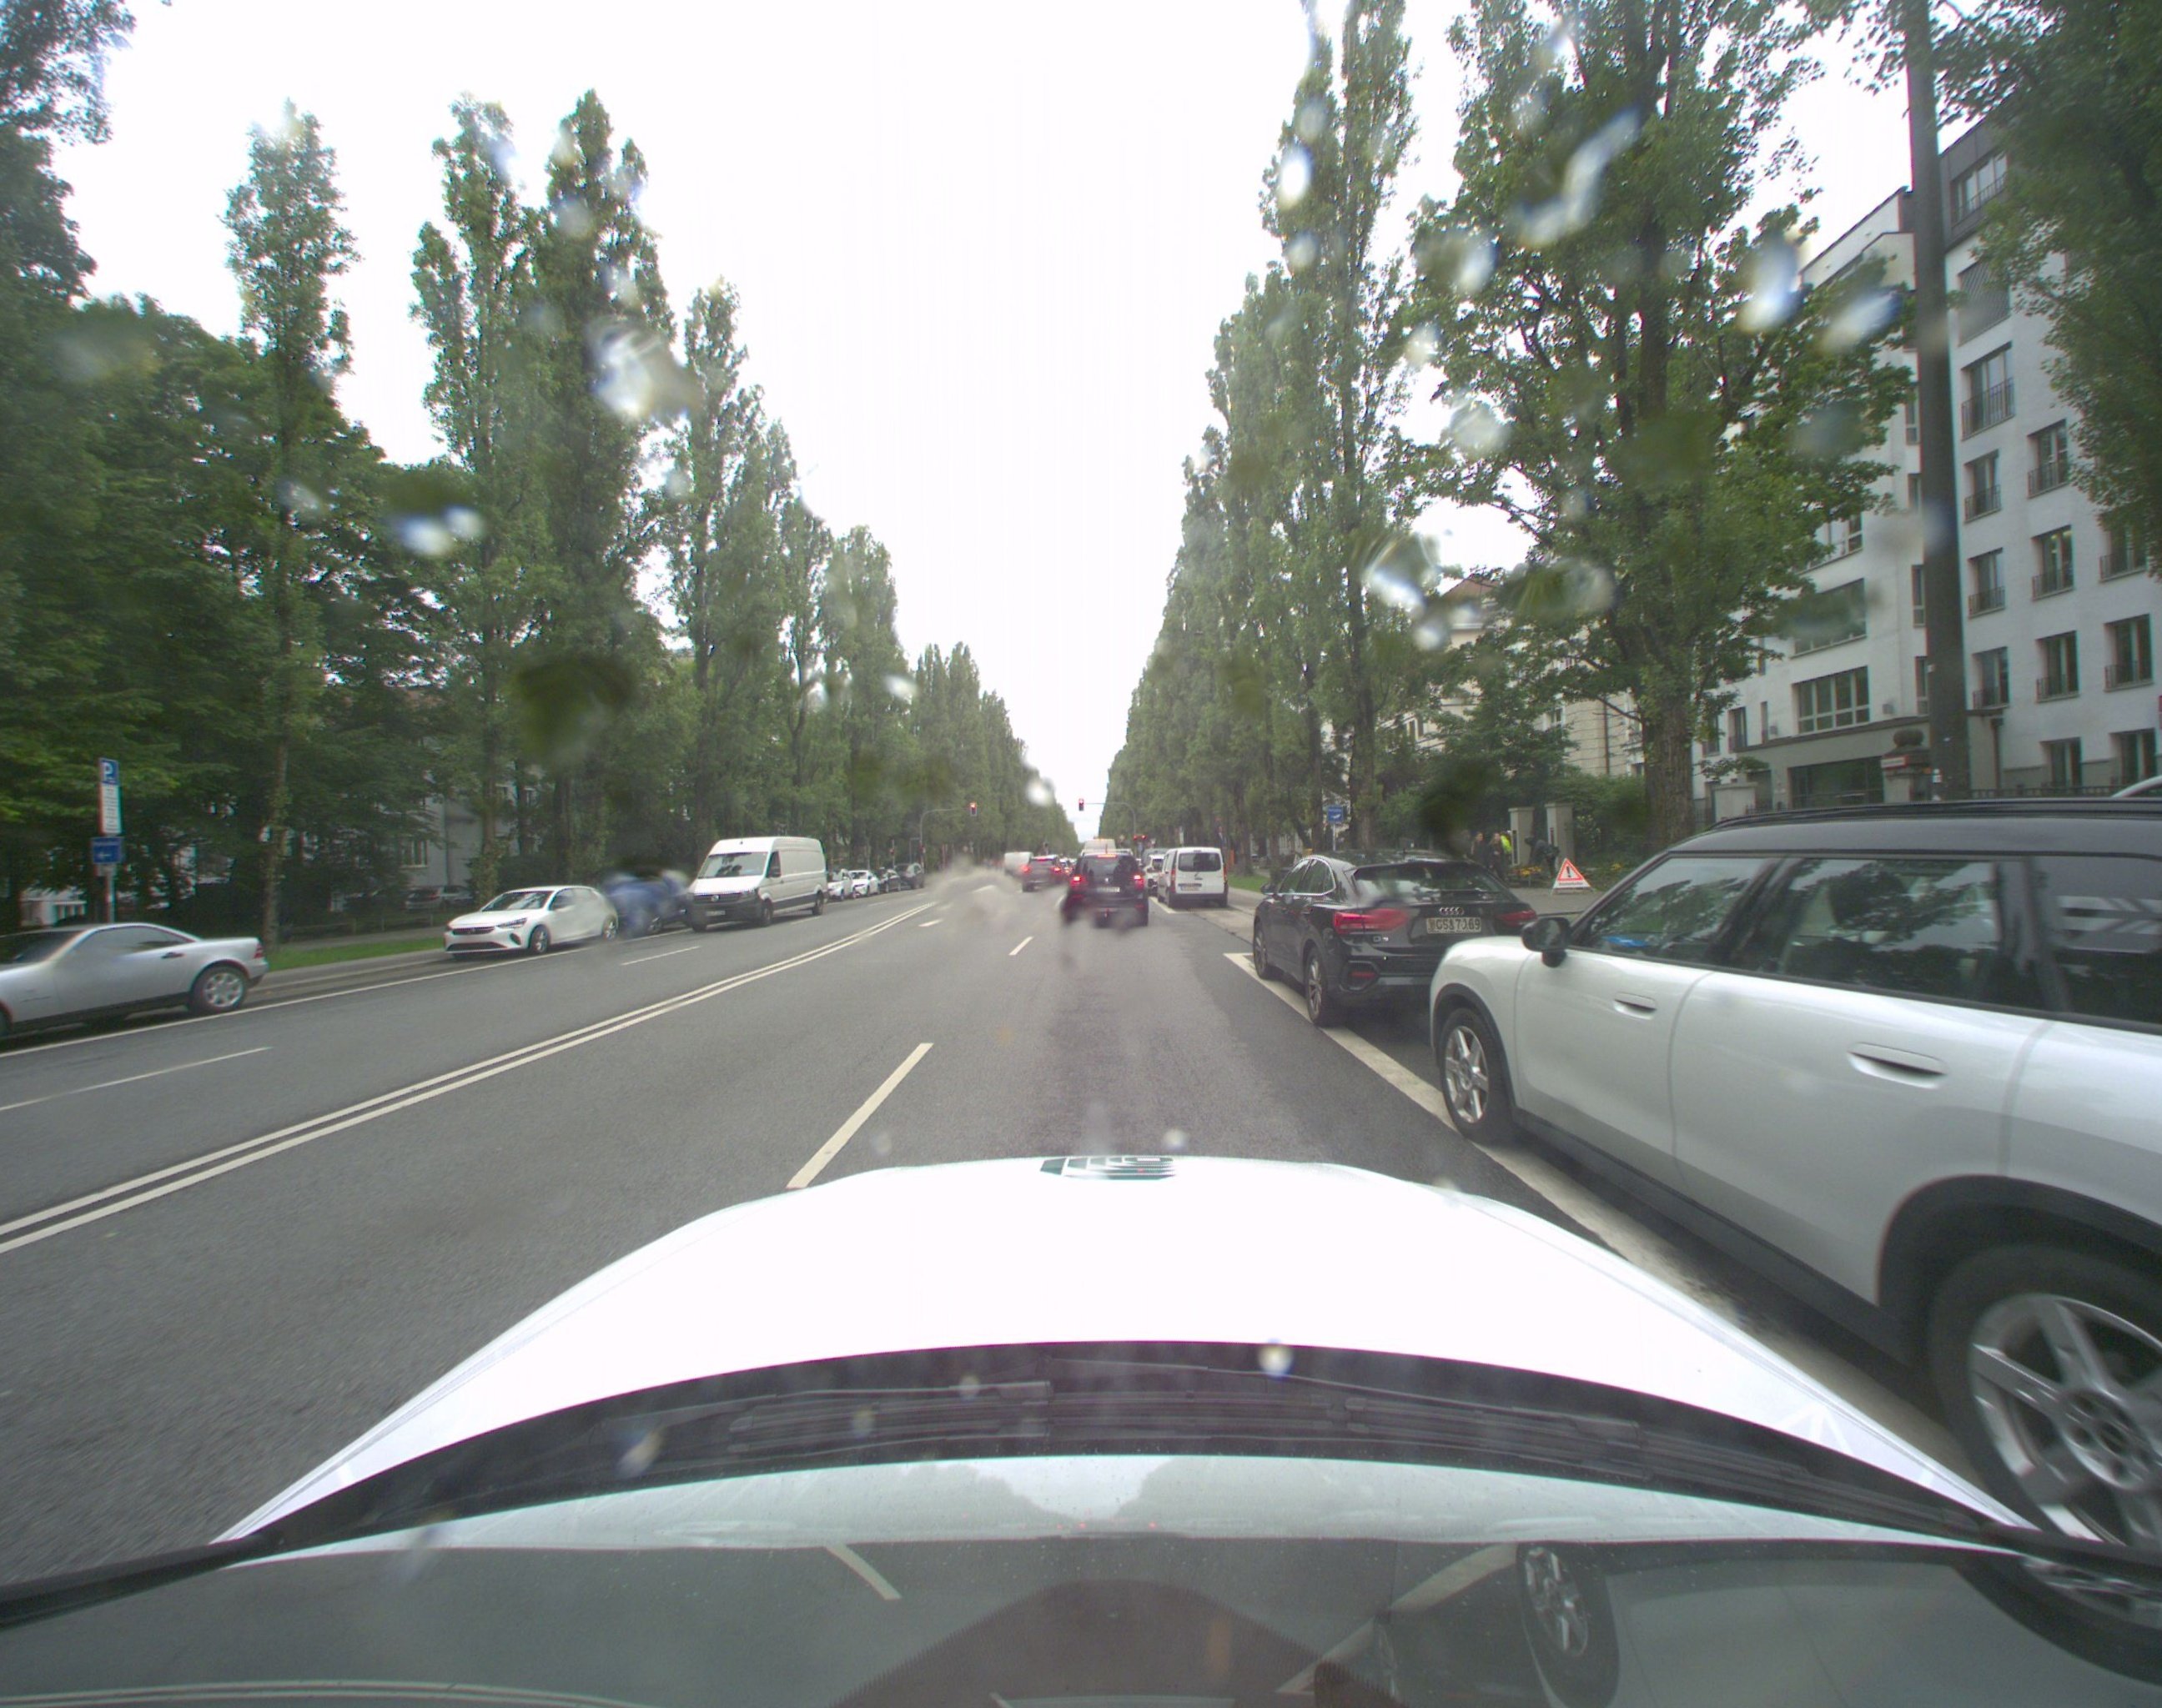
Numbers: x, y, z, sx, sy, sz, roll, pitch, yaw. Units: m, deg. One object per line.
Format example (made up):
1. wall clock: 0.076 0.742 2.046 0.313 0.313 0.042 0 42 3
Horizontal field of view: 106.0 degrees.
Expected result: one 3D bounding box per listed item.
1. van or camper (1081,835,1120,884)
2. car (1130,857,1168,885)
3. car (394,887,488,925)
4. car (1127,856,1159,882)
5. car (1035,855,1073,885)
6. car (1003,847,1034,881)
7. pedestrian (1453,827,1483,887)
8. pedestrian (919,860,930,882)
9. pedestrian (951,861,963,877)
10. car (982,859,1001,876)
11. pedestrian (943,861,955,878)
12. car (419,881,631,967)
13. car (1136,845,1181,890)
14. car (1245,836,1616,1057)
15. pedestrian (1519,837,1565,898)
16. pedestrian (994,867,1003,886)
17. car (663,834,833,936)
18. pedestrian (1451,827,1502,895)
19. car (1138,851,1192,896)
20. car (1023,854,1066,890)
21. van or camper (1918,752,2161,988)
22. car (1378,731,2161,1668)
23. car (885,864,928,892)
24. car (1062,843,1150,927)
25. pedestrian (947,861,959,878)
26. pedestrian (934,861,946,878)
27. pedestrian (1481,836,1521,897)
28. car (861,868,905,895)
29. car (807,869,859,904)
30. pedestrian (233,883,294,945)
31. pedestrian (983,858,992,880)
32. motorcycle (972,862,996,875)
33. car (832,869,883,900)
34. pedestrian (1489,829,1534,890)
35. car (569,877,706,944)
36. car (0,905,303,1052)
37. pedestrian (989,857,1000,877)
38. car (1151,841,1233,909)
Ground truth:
1. van or camper: 1.048 0.295 45.735 1.969 2.548 4.023 -2 0 -1
2. car: 3.617 0.883 43.673 1.729 1.387 3.563 -2 0 1
3. car: -35.609 2.852 45.461 1.986 1.772 4.002 -2 0 2
4. car: 3.708 0.877 49.179 1.729 1.475 3.563 -2 0 1
5. car: -1.525 0.902 47.160 1.987 1.560 4.000 -2 0 0
6. car: -4.041 0.631 52.971 1.777 2.111 4.021 -2 0 -2
7. pedestrian: 12.419 0.101 26.144 0.487 1.862 0.635 -2 -1 -16
8. pedestrian: -11.769 1.267 61.392 0.658 1.577 0.530 -3 0 1
9. pedestrian: -13.198 1.636 86.570 0.887 1.655 0.868 -2 -1 -37
10. car: -10.440 1.577 94.841 1.682 1.783 3.775 -2 0 1
11. pedestrian: -13.831 1.633 85.602 0.887 1.655 0.868 -2 -1 -37
12. car: -12.249 1.454 18.349 1.765 1.452 4.232 -5 0 0
13. car: 3.547 0.587 37.803 1.729 1.895 4.025 -2 0 1
14. car: 2.991 0.668 8.167 1.873 1.540 4.466 -2 0 2
15. pedestrian: 14.133 0.388 24.981 0.905 1.800 0.825 -3 2 -20
16. pedestrian: -6.437 1.739 63.491 0.515 1.485 0.537 -3 0 1
17. car: -9.580 0.805 24.292 2.221 2.483 6.755 -4 0 -1
18. pedestrian: 10.504 0.181 21.676 0.850 1.717 0.867 -3 -1 0
19. car: 3.279 0.727 32.530 1.735 1.593 4.212 -2 0 1
20. car: -1.705 0.826 39.008 1.775 1.620 4.025 0 0 1
21. van or camper: 9.873 0.116 5.954 2.069 1.933 5.370 -1 0 1
22. car: 2.804 0.587 3.053 1.737 1.675 4.580 -2 0 1
23. car: -11.663 1.573 54.736 1.844 1.654 4.693 -4 0 -1
24. car: 0.570 0.658 19.062 1.849 1.770 4.001 0 0 1
25. pedestrian: -13.328 1.615 84.876 0.887 1.655 0.868 -2 -1 -37
26. pedestrian: -15.039 1.616 86.820 0.875 1.764 0.880 -2 0 10
27. pedestrian: 11.302 0.327 21.918 0.566 1.579 0.867 -2 -1 1
28. car: -11.823 1.610 48.786 1.619 1.389 4.164 -4 0 -1
29. car: -11.823 1.504 38.964 1.423 1.447 2.966 -5 0 1
30. pedestrian: -21.942 1.600 21.874 0.734 1.599 0.881 -1 -1 2
31. pedestrian: -6.929 1.105 60.480 0.526 1.577 0.662 -3 0 1
32. motorcycle: -10.318 1.549 86.868 2.355 1.269 0.930 -2 0 1
33. car: -11.819 1.566 43.229 1.619 1.389 4.163 -4 0 -2
34. pedestrian: 13.079 0.169 24.728 0.801 1.782 0.816 -2 -1 -16
35. car: -12.054 1.476 22.425 1.704 1.451 3.585 -5 0 0
36. car: -12.153 1.464 9.573 1.820 1.334 4.234 -5 0 1
37. pedestrian: -8.866 1.314 83.426 0.881 2.013 1.014 -2 0 4
38. car: 3.351 0.589 25.320 1.846 1.881 4.166 -2 0 -1
